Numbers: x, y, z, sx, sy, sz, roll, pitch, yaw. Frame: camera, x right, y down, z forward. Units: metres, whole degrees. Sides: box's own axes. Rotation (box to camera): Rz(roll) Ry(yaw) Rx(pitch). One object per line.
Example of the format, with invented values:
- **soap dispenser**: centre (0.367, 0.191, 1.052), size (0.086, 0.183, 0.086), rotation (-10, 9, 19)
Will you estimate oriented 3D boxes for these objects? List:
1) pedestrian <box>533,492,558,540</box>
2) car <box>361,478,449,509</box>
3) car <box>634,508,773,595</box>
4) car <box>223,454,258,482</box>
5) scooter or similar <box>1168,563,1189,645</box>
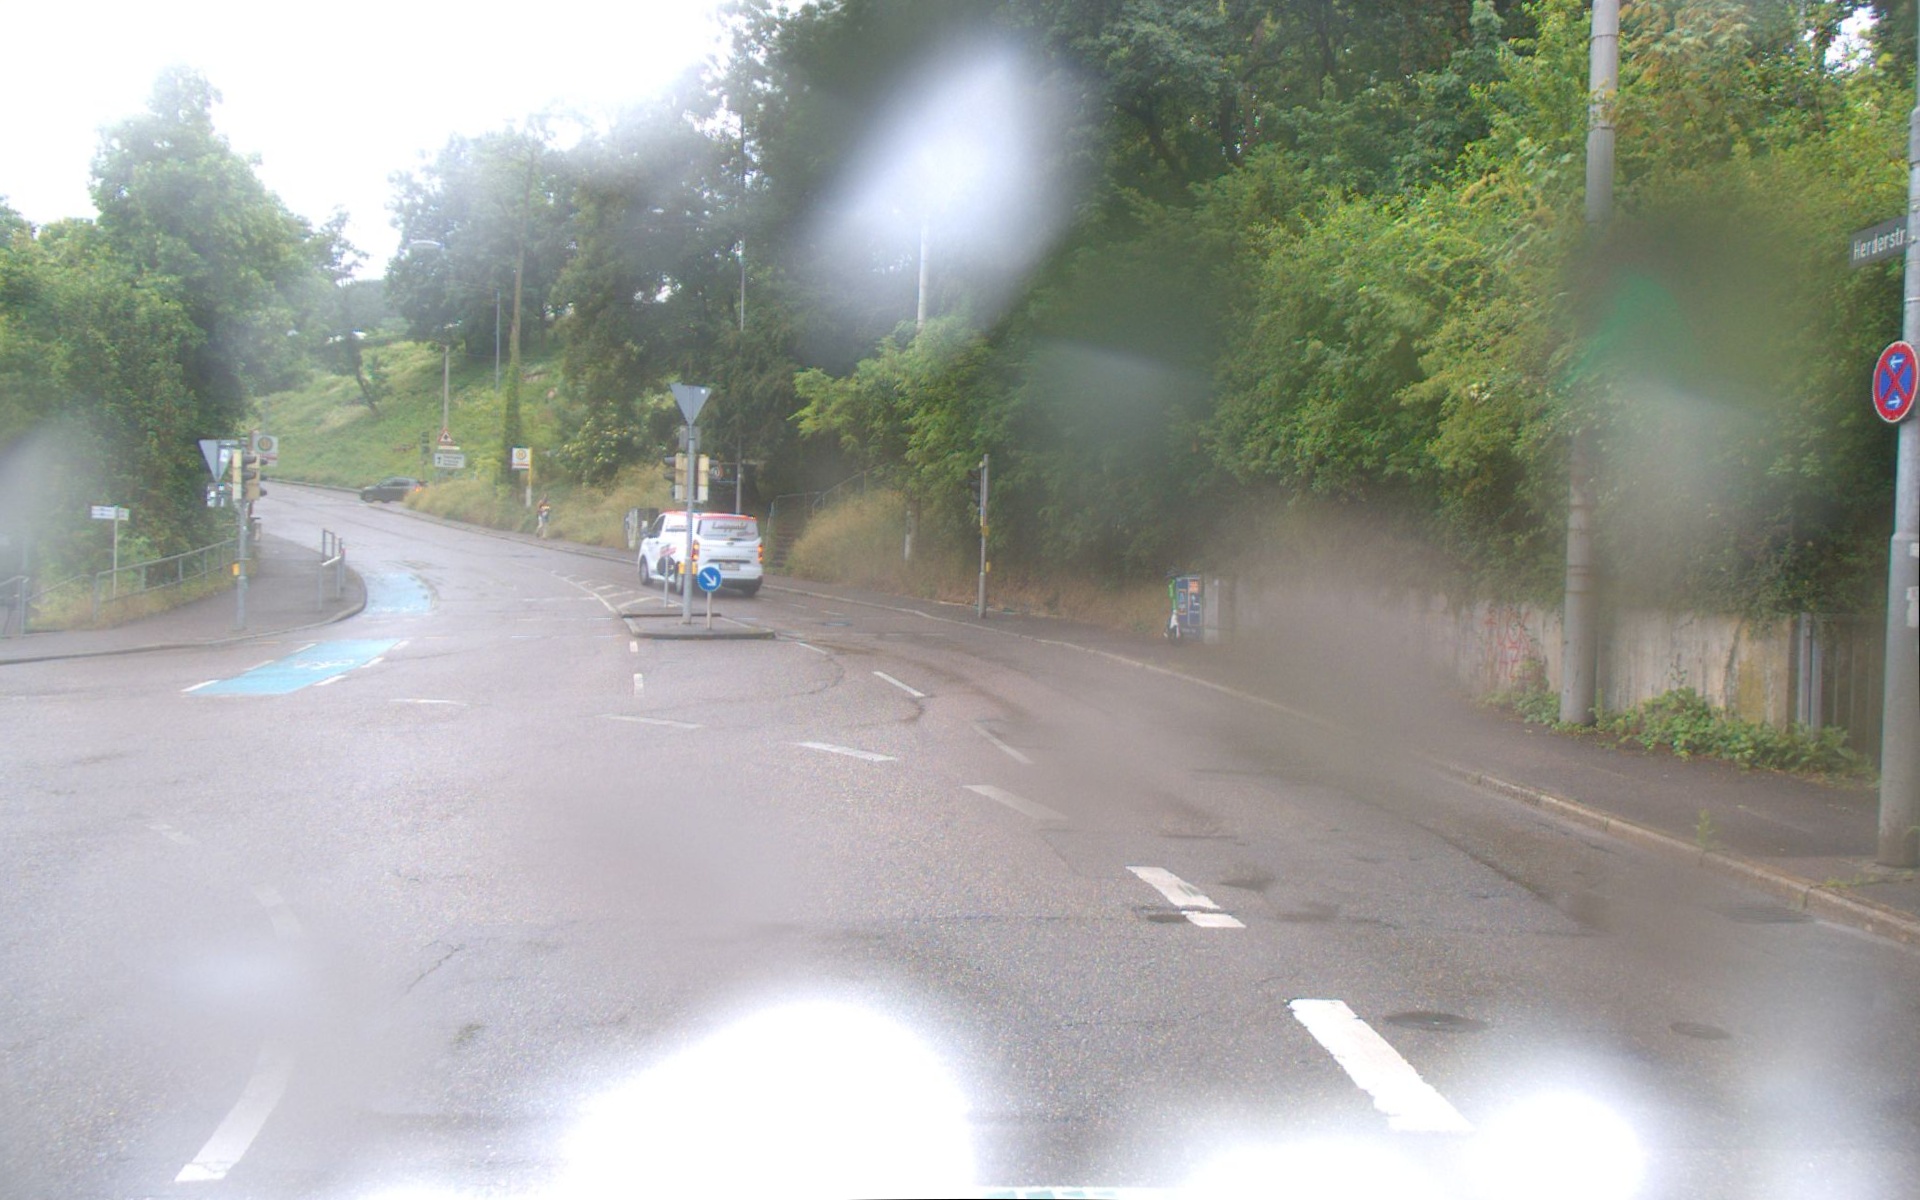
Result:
- **pedestrian**: centre (-15.954, -3.220, 63.714), size (0.867, 1.767, 0.861), rotation (1, -1, -18)
- **car**: centre (-31.323, -5.997, 93.369), size (4.296, 1.538, 1.965), rotation (3, 3, 13)
- **car**: centre (-6.491, -1.202, 41.393), size (2.041, 2.041, 4.773), rotation (0, 1, -27)
- **car**: centre (-51.553, -9.435, 118.464), size (1.898, 1.811, 3.961), rotation (1, 2, -30)
- **scooter or similar**: centre (3.562, 0.052, 26.996), size (0.315, 1.302, 0.752), rotation (0, 3, 7)
